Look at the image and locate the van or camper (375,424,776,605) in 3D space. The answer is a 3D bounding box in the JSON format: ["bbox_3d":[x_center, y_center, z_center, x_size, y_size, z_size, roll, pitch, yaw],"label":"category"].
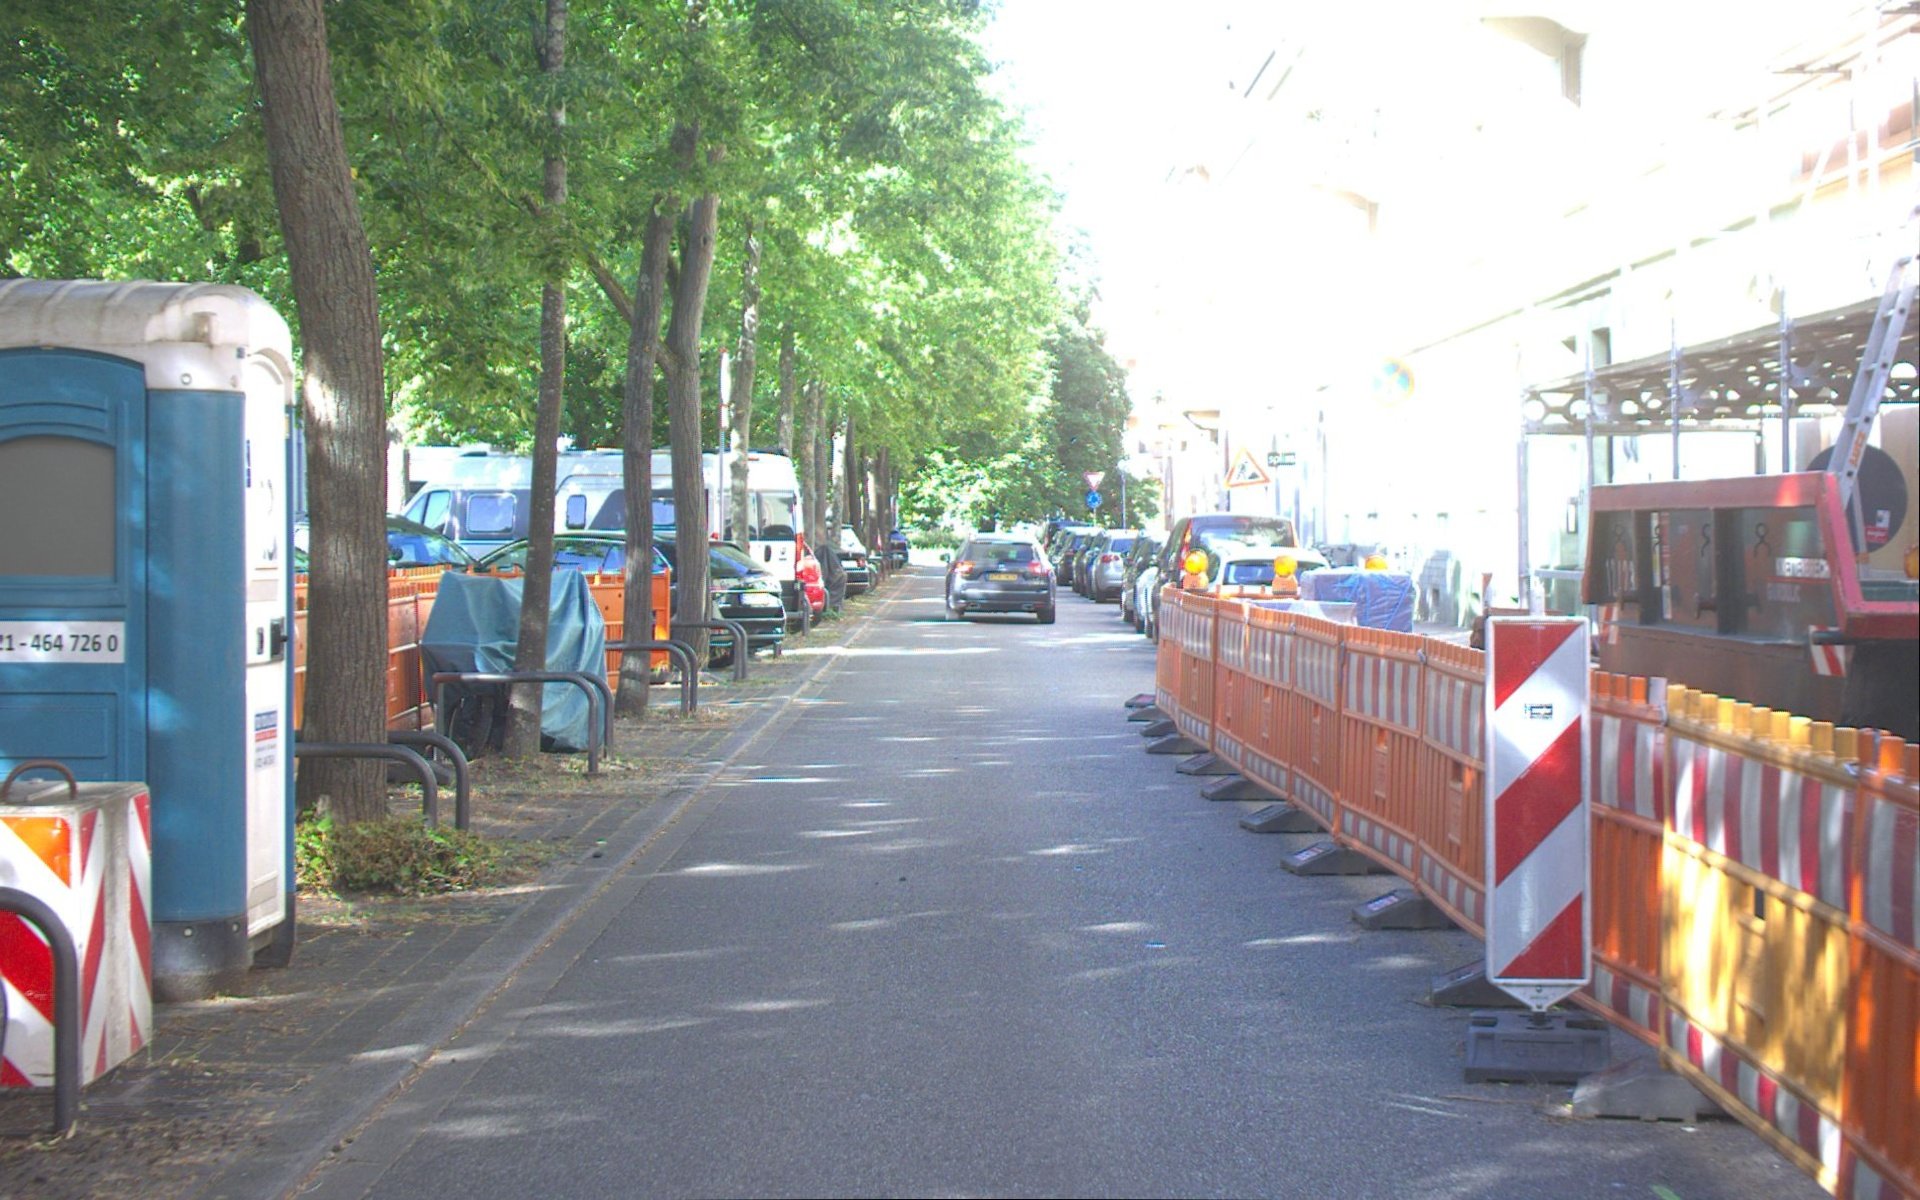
[{"bbox_3d":[-6.378,-1.434,56.745,6.296,2.815,2.404,2,1,29],"label":"van or camper"}]

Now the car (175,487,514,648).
[{"bbox_3d":[-7.763,-0.427,43.171,4.381,1.908,1.995,1,1,44],"label":"car"}]

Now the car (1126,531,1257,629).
[{"bbox_3d":[3.442,-0.329,51.750,1.607,1.415,4.569,0,1,-1],"label":"car"}]

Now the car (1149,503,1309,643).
[{"bbox_3d":[3.562,-0.383,46.045,1.771,1.787,3.990,0,1,-1],"label":"car"}]

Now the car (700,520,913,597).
[{"bbox_3d":[-3.033,-0.813,67.414,4.015,1.469,1.623,0,1,36],"label":"car"}]

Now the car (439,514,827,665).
[{"bbox_3d":[-3.617,-0.154,37.749,4.095,1.520,1.699,1,3,34],"label":"car"}]

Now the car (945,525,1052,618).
[{"bbox_3d":[0.676,-0.504,57.668,1.714,1.478,4.144,-1,1,2],"label":"car"}]

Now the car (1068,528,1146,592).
[{"bbox_3d":[3.512,-0.978,82.819,1.692,1.463,4.005,1,1,0],"label":"car"}]

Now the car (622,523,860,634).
[{"bbox_3d":[-3.377,-0.342,52.414,1.659,1.612,3.879,-2,1,-39],"label":"car"}]

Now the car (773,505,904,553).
[{"bbox_3d":[-4.093,-2.383,115.802,4.087,1.461,1.867,2,0,-13],"label":"car"}]

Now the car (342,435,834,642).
[{"bbox_3d":[-4.938,-0.828,45.140,6.319,2.550,2.334,1,1,33],"label":"car"}]

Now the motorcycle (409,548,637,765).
[{"bbox_3d":[-2.805,0.338,22.317,0.631,1.320,2.227,2,1,15],"label":"motorcycle"}]

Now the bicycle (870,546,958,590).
[{"bbox_3d":[-1.011,-0.696,75.206,1.900,0.916,0.379,2,1,20],"label":"bicycle"}]

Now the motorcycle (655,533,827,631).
[{"bbox_3d":[-3.067,-0.259,48.042,2.318,1.330,0.969,0,1,-9],"label":"motorcycle"}]

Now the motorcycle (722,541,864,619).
[{"bbox_3d":[-2.712,-0.332,55.921,2.148,1.225,0.881,1,1,9],"label":"motorcycle"}]

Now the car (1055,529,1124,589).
[{"bbox_3d":[3.478,-1.135,92.712,1.805,1.558,4.320,-1,1,2],"label":"car"}]

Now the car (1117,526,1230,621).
[{"bbox_3d":[3.476,-0.458,56.502,1.599,1.487,3.967,0,1,0],"label":"car"}]

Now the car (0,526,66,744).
[{"bbox_3d":[-8.259,0.230,23.621,3.904,1.456,1.576,0,1,21],"label":"car"}]

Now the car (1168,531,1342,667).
[{"bbox_3d":[3.418,-0.048,40.479,1.704,1.506,4.284,0,1,0],"label":"car"}]

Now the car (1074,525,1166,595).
[{"bbox_3d":[3.352,-0.858,72.612,1.770,1.426,4.291,0,1,0],"label":"car"}]
